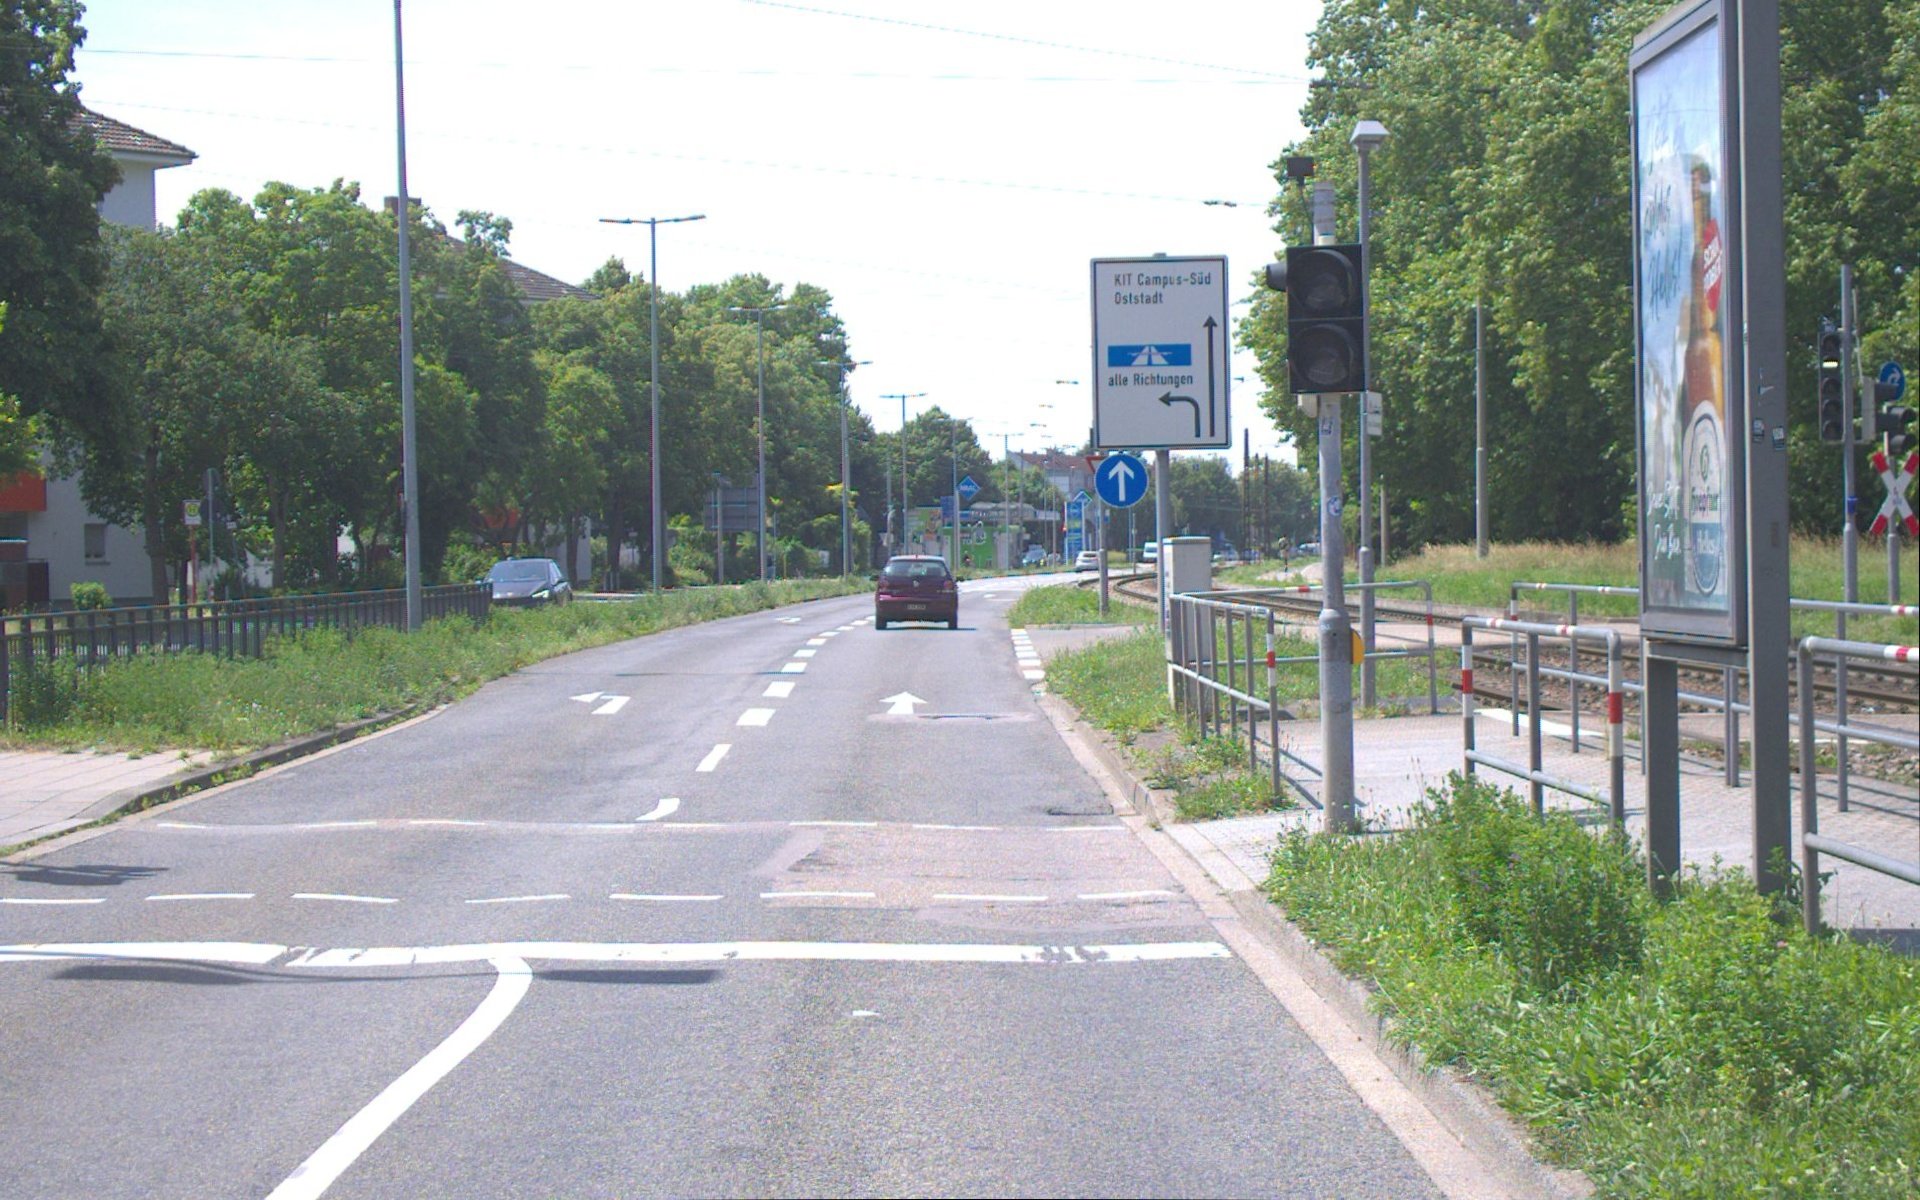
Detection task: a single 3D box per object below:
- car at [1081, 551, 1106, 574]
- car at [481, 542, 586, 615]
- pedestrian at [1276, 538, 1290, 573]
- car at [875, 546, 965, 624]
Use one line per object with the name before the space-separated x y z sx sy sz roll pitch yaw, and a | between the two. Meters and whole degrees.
car | 9.299 -2.603 239.153 1.703 1.475 3.716 2 0 2
car | -9.419 -0.500 76.116 1.756 1.538 4.161 -1 1 0
pedestrian | 16.014 -2.195 170.647 0.662 1.720 0.816 -1 1 6
car | -0.770 -0.296 68.376 1.703 1.472 3.716 -1 0 0
